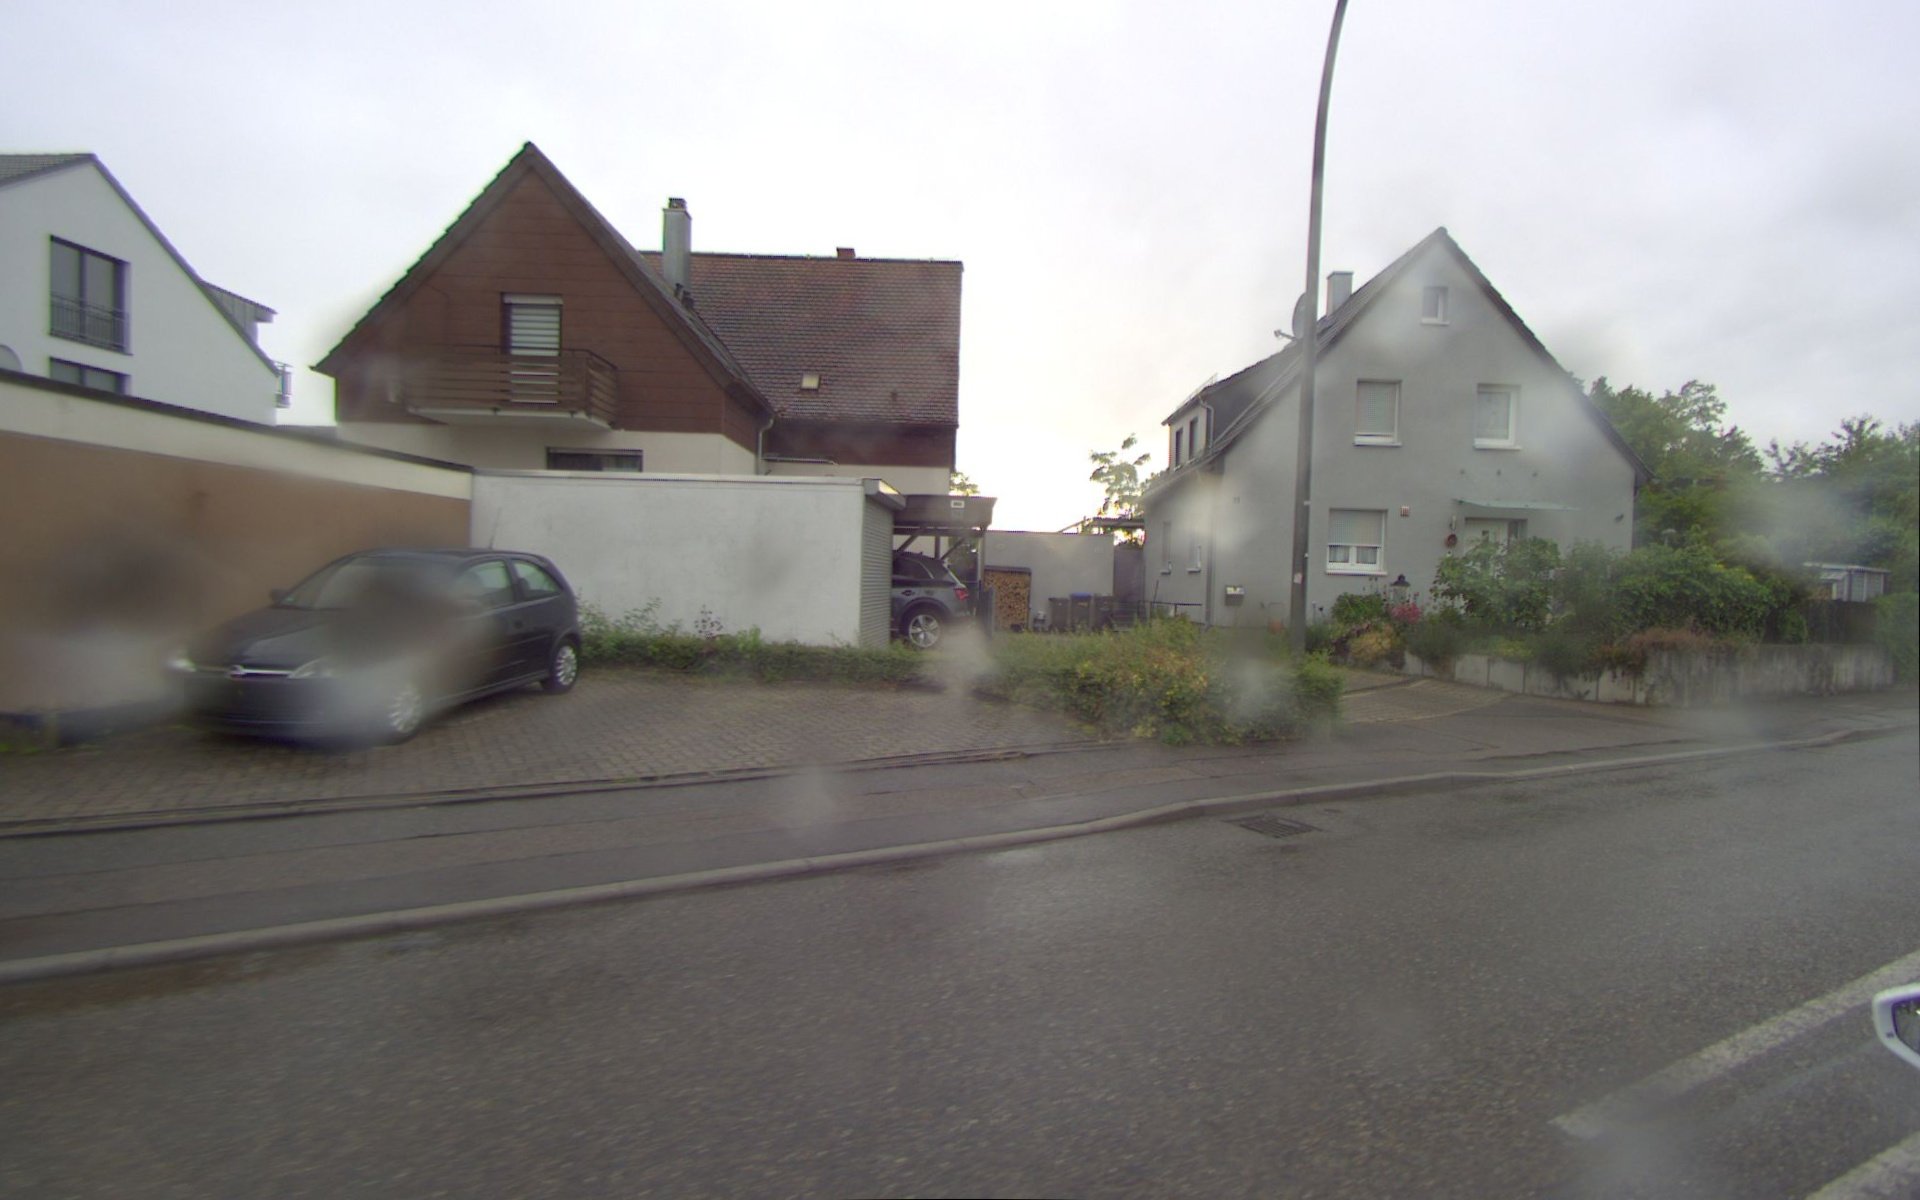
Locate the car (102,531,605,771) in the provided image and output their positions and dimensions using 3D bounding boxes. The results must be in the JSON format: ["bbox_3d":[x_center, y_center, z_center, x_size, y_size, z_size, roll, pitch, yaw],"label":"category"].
[{"bbox_3d":[-4.760,0.240,8.613,1.667,1.528,3.775,3,3,8],"label":"car"}]

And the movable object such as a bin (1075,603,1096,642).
[{"bbox_3d":[3.348,0.592,26.904,0.535,1.028,0.494,1,1,6],"label":"movable object such as a bin"}]

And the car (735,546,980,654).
[{"bbox_3d":[-1.824,0.017,17.254,3.932,1.683,1.994,1,0,-14],"label":"car"}]

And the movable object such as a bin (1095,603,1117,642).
[{"bbox_3d":[3.899,0.592,26.810,0.535,1.028,0.494,1,1,6],"label":"movable object such as a bin"}]

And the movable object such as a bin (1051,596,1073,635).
[{"bbox_3d":[2.746,0.403,27.065,0.565,1.028,0.528,1,1,5],"label":"movable object such as a bin"}]
